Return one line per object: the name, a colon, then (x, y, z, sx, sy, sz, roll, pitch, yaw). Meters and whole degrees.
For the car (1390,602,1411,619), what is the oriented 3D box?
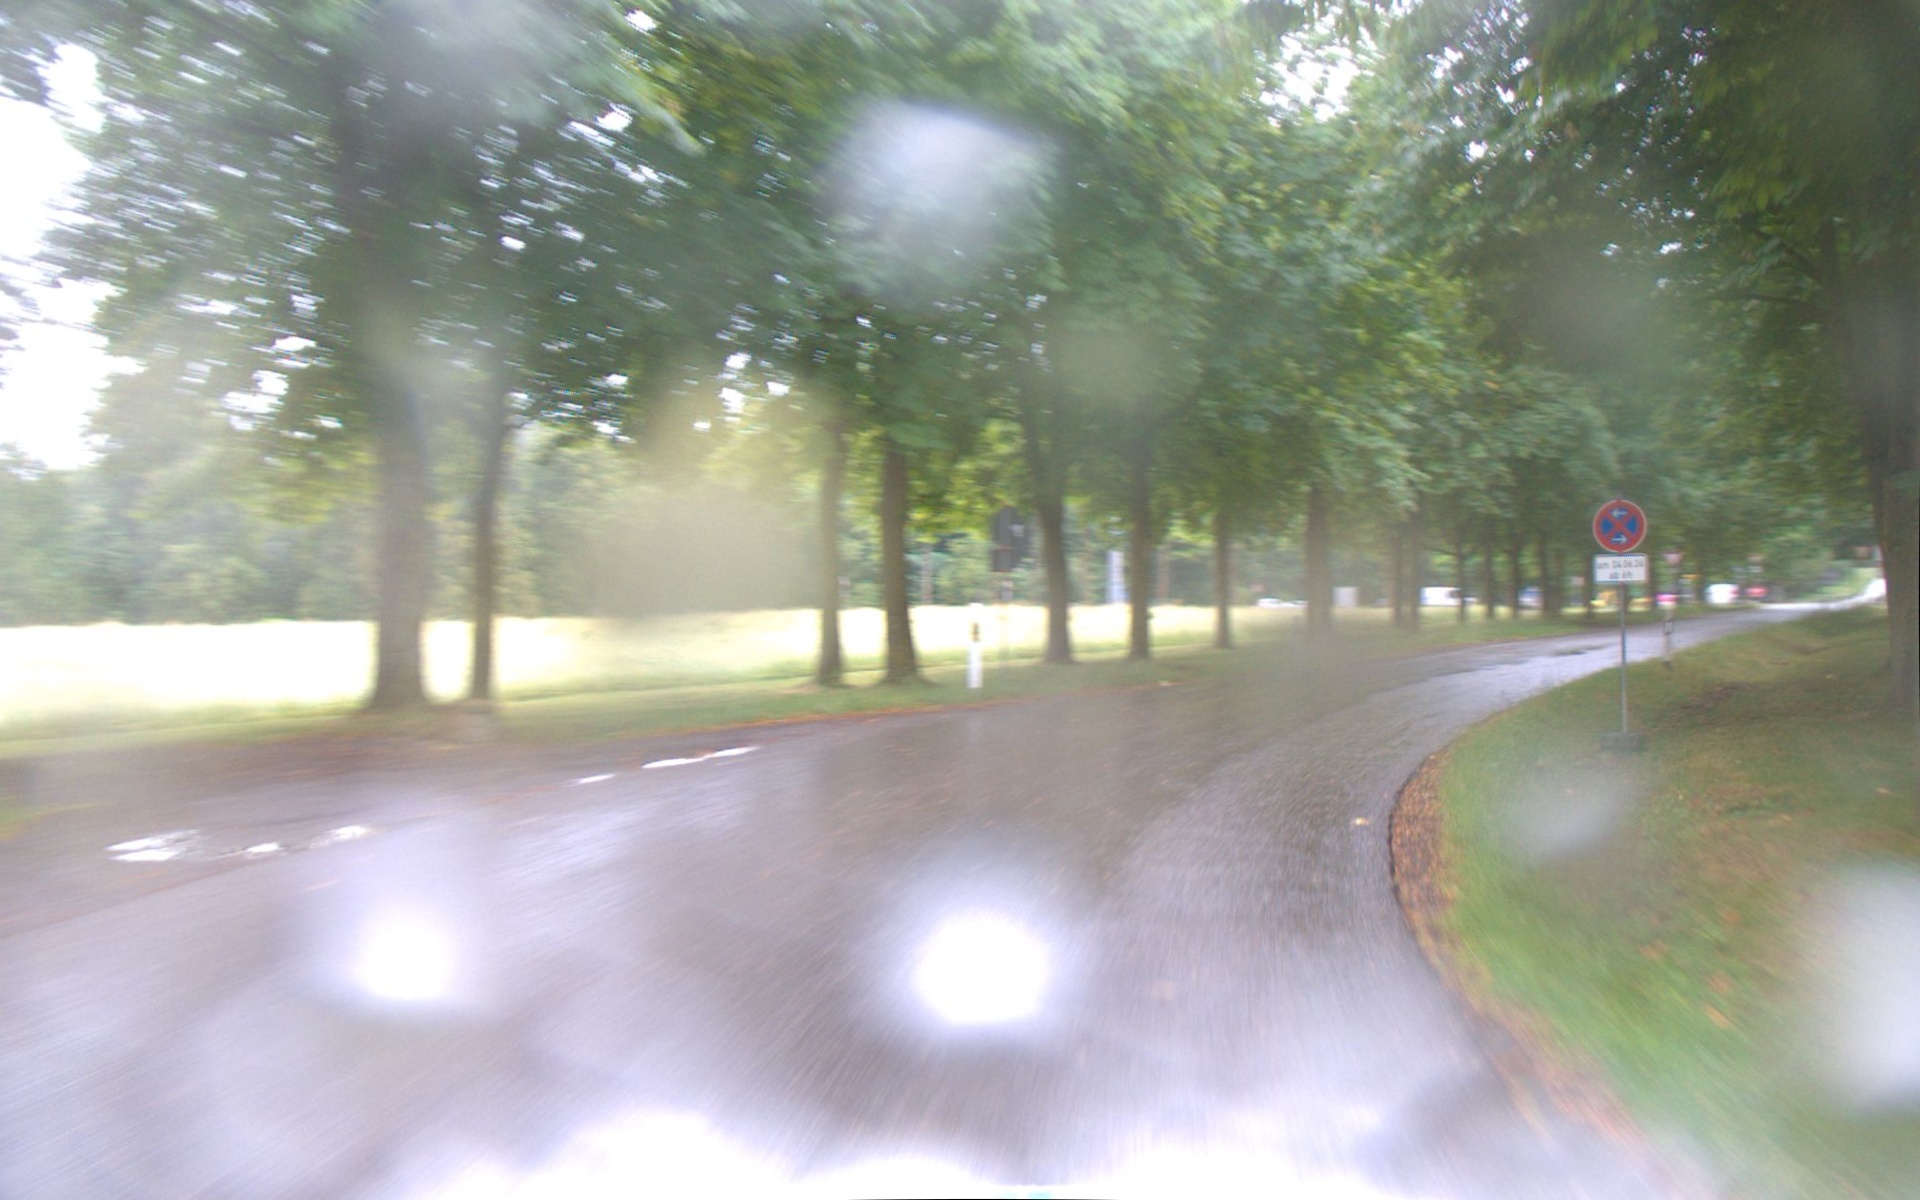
car: (39.482, 0.974, 148.337, 1.725, 1.454, 4.110, -1, -1, 13)

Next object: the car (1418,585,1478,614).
car: (44.079, -0.023, 149.556, 2.346, 2.450, 5.956, 1, -2, -16)

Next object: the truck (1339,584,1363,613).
truck: (35.087, -0.120, 148.498, 1.830, 2.485, 3.351, -1, -1, 17)
